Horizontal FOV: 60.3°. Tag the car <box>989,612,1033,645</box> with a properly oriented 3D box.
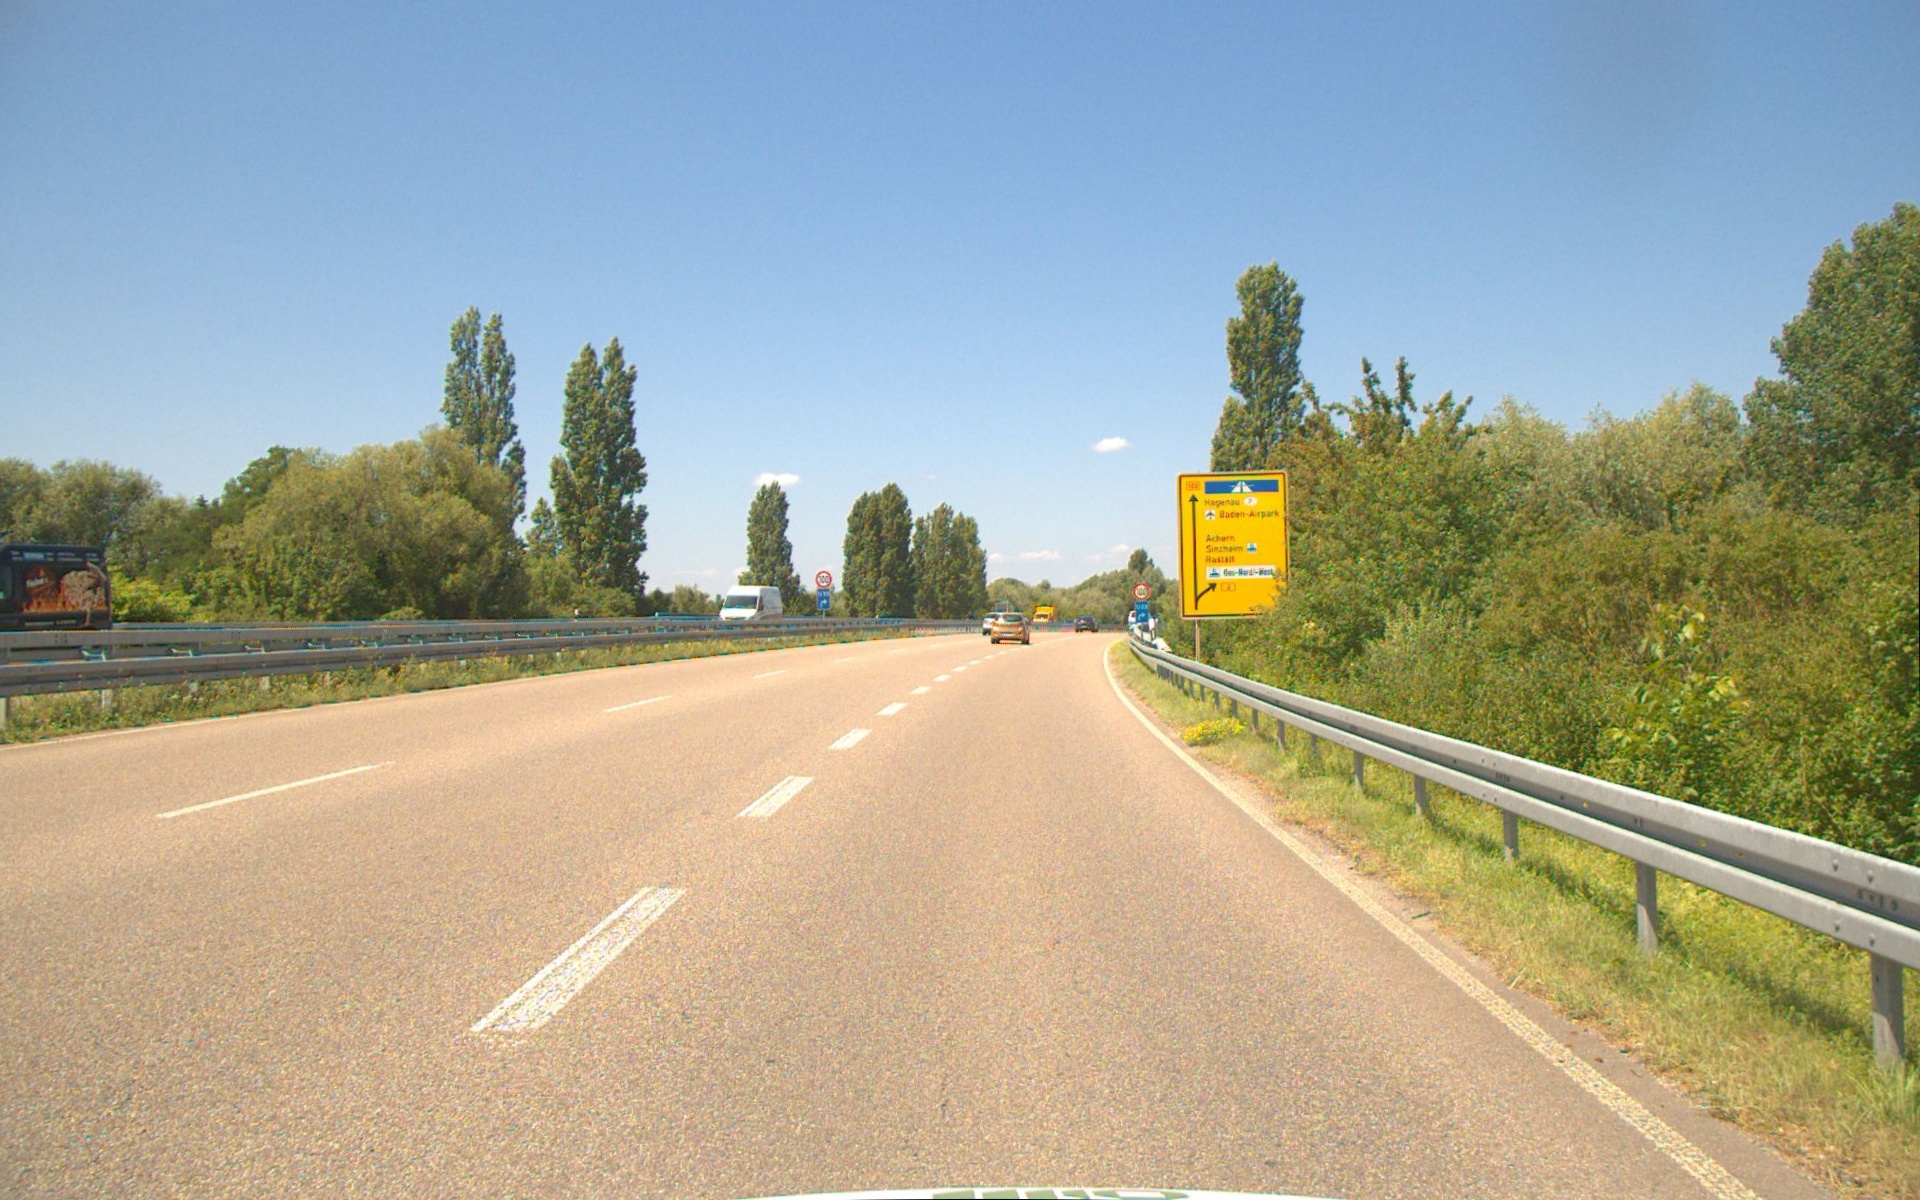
[{"bbox_3d":[2.463,1.348,78.997,1.802,1.490,4.002,1,0,5],"label":"car"}]

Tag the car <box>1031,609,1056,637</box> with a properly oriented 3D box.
[{"bbox_3d":[10.268,2.847,202.474,2.256,3.350,7.033,0,-1,10],"label":"car"}]

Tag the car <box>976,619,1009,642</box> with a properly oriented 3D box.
[{"bbox_3d":[2.181,2.008,109.251,1.802,1.476,4.002,1,0,6],"label":"car"}]

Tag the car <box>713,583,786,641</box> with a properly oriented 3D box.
[{"bbox_3d":[-10.925,0.673,86.548,2.231,2.822,7.225,0,-2,5],"label":"car"}]

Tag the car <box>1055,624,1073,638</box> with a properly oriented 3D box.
[{"bbox_3d":[13.877,4.144,219.887,1.813,1.850,4.798,0,-2,10],"label":"car"}]

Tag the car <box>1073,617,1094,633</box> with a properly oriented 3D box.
[{"bbox_3d":[12.322,2.489,165.070,1.902,1.490,4.002,1,0,6],"label":"car"}]

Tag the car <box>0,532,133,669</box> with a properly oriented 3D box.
[{"bbox_3d":[-19.700,0.048,33.811,2.157,2.684,5.629,0,-2,7],"label":"car"}]
